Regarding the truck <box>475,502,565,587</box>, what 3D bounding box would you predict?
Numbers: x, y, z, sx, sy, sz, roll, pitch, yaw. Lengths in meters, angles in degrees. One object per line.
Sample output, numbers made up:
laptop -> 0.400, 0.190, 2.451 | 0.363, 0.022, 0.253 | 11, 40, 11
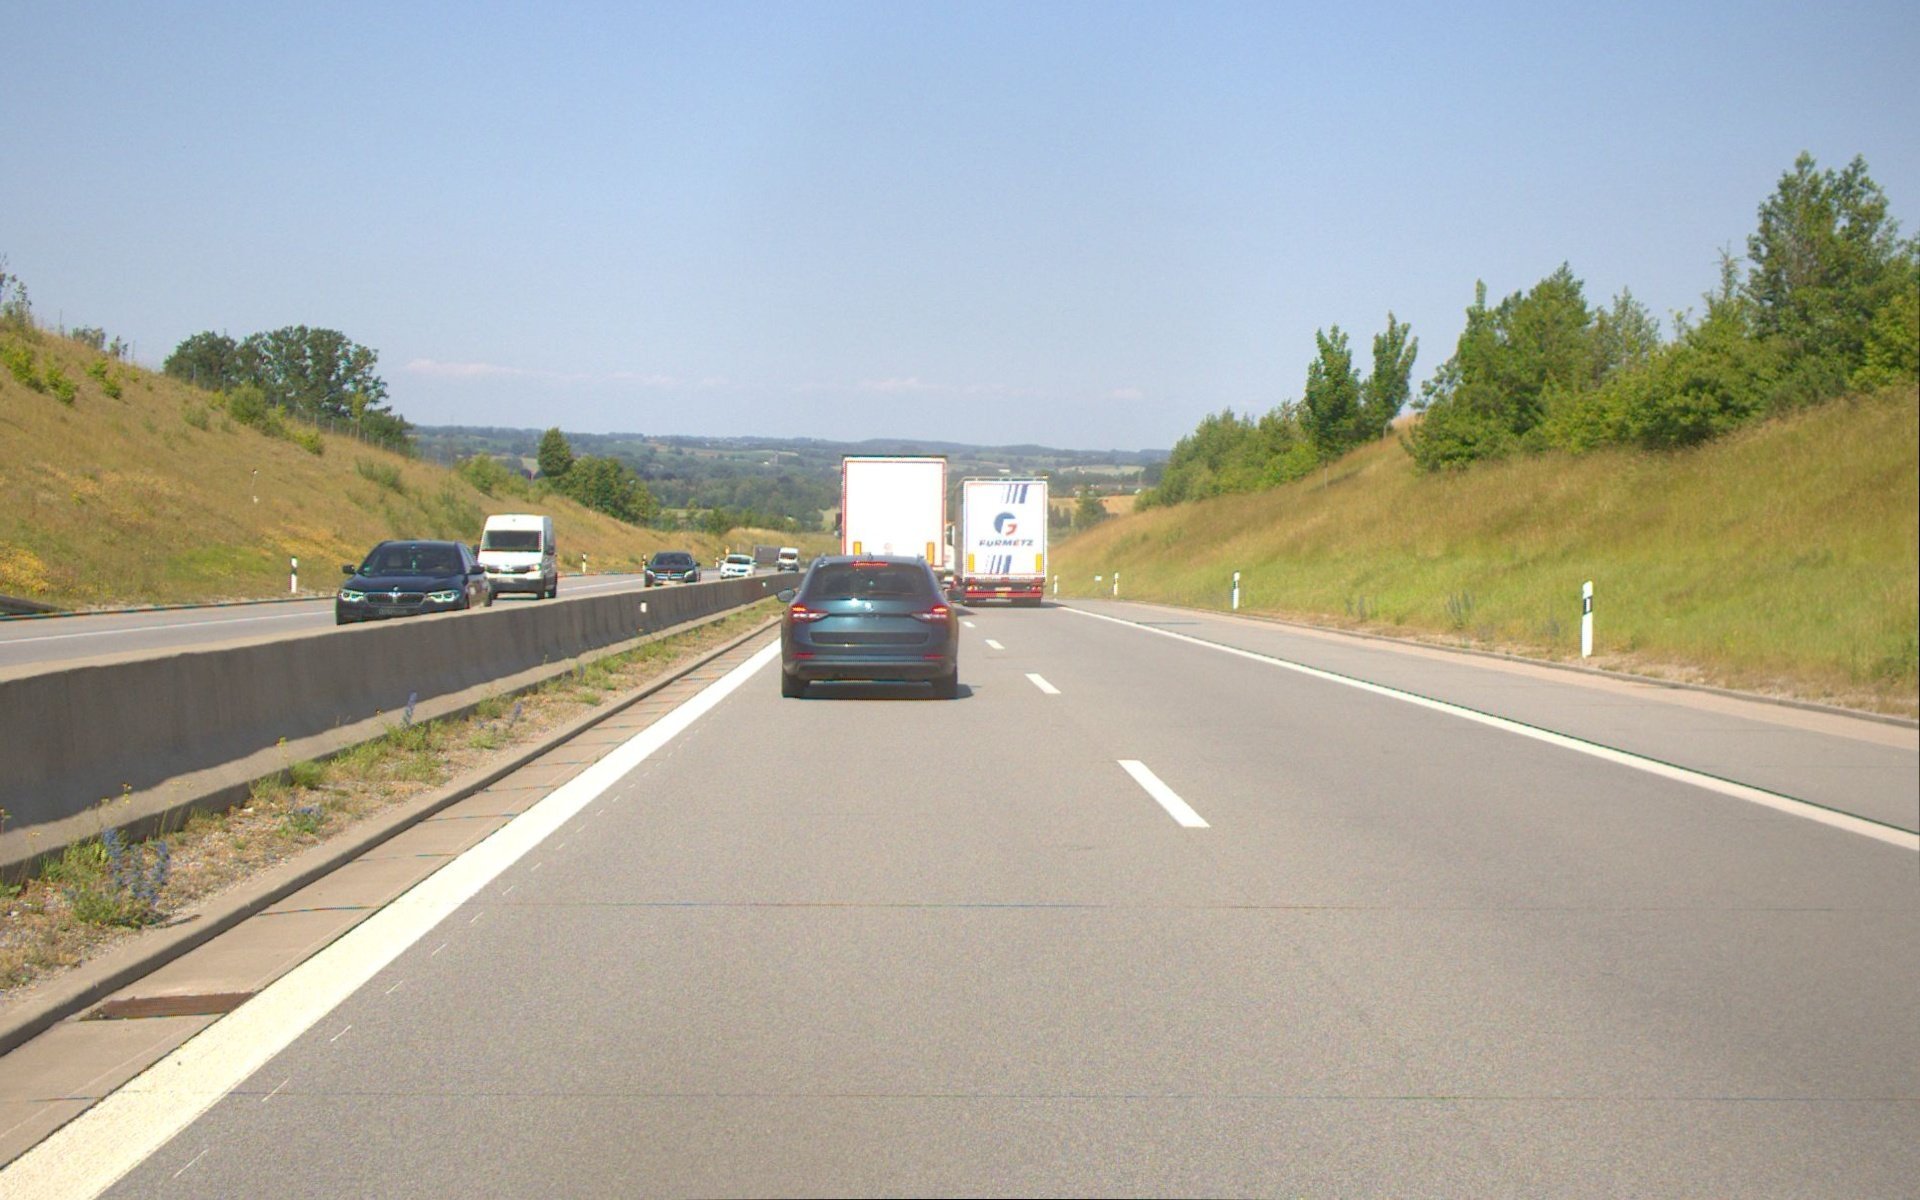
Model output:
truck -> -13.238, -1.695, 103.734 | 2.112, 2.452, 5.952 | 1, 1, -2

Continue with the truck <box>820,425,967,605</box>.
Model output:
truck -> -1.632, -2.180, 90.083 | 3.211, 4.366, 11.233 | 1, 1, 2

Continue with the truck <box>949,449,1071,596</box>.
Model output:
truck -> 1.659, -2.430, 109.519 | 3.604, 4.366, 11.233 | 1, 1, 2

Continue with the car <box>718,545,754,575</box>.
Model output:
car -> -12.281, -2.201, 188.525 | 1.775, 1.596, 4.040 | 1, 1, -1

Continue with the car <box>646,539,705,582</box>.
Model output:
car -> -10.069, -1.412, 121.913 | 1.853, 1.456, 4.333 | 1, 1, -2

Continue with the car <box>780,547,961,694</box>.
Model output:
car -> -0.956, 0.173, 35.664 | 1.776, 1.436, 3.789 | 0, 1, -2

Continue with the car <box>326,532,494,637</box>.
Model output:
car -> -8.181, -0.267, 51.476 | 1.853, 1.456, 4.769 | 1, 1, -2
